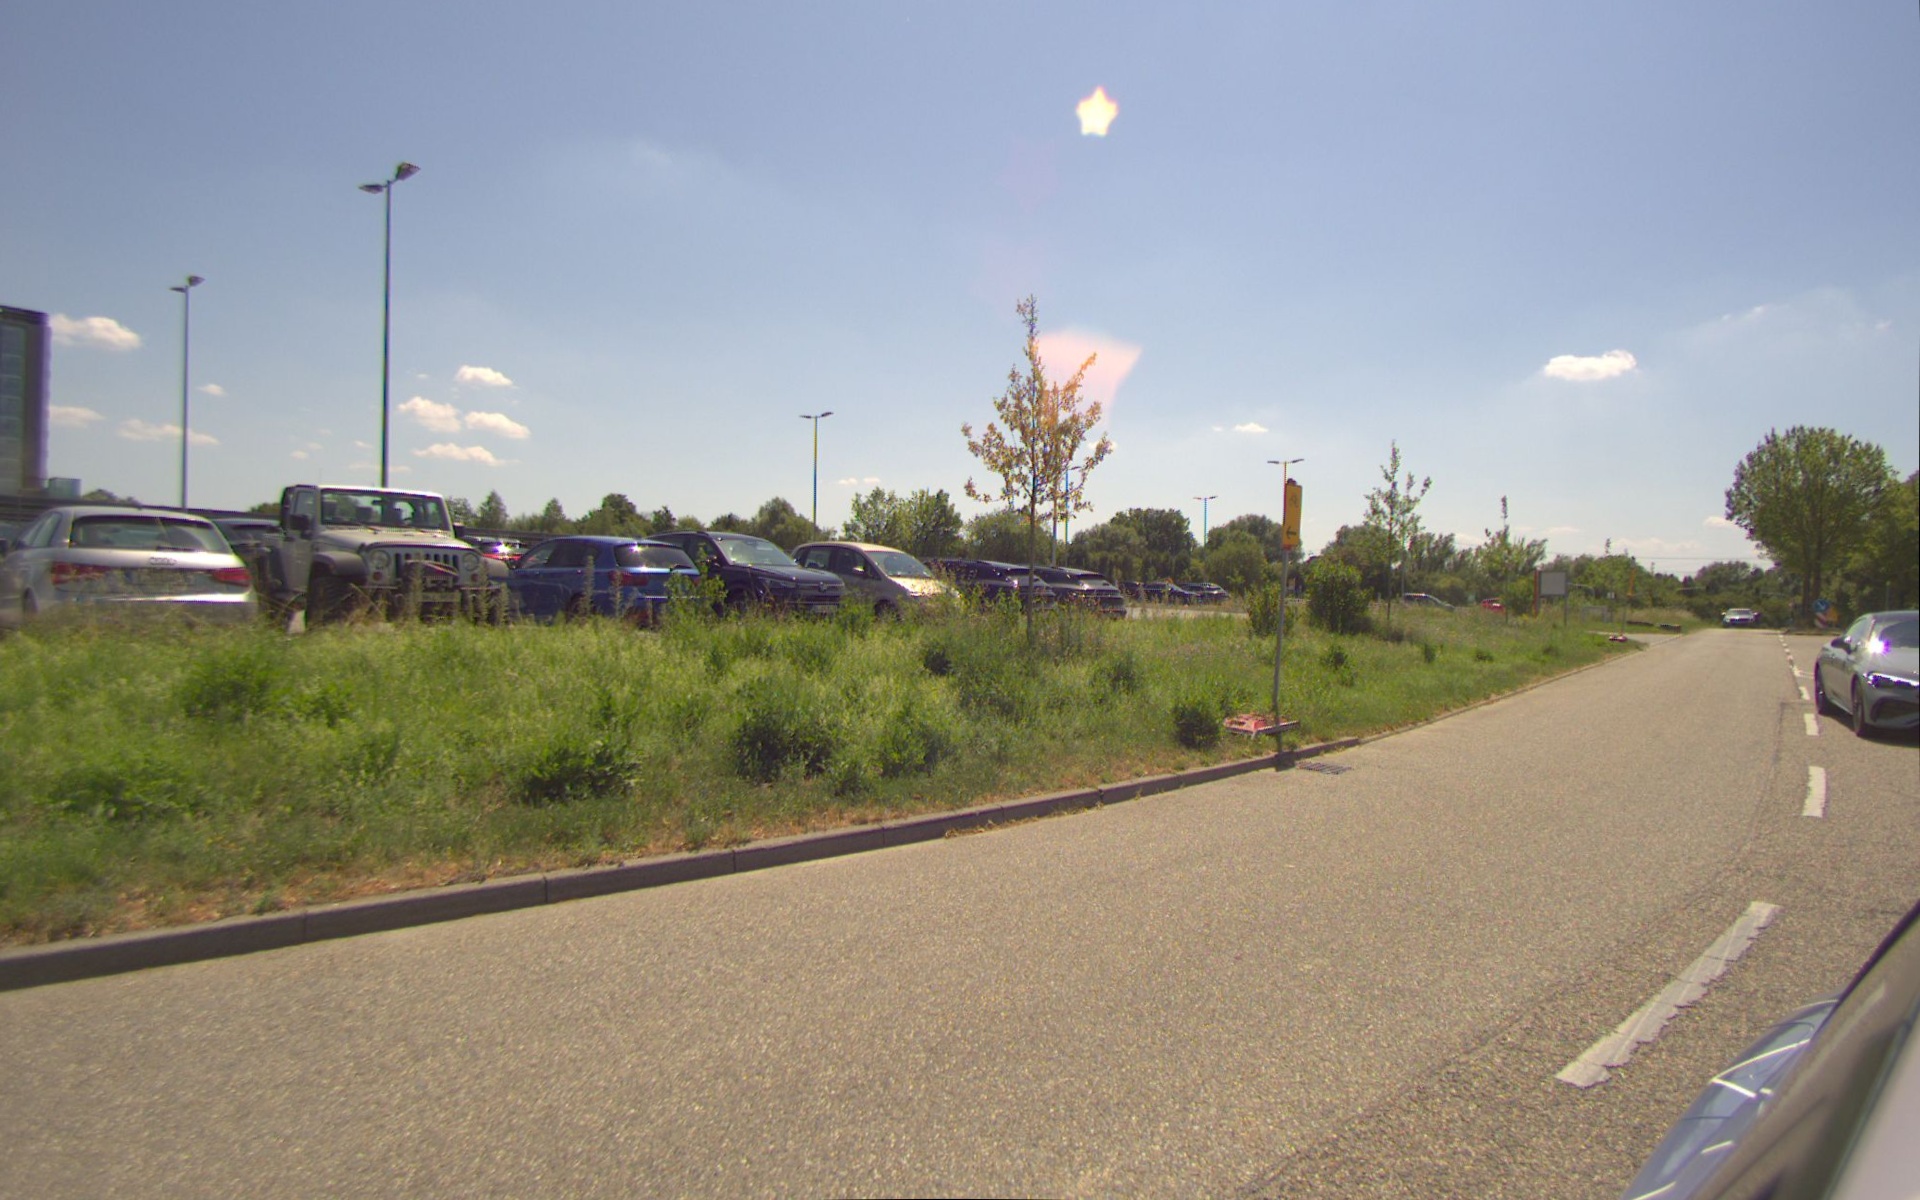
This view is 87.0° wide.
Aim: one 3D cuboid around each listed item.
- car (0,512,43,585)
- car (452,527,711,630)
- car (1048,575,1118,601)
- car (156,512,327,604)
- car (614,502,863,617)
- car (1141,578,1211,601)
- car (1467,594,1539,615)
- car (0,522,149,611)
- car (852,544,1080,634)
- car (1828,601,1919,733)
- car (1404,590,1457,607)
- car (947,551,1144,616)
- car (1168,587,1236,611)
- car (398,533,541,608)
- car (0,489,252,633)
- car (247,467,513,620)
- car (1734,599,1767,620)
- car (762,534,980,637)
[{"bbox_3d":[-21.575,-1.169,22.214,3.621,1.518,1.577,3,2,38],"label":"car"},{"bbox_3d":[-5.419,-0.332,14.307,3.924,1.273,1.565,2,3,37],"label":"car"},{"bbox_3d":[6.486,-0.666,53.464,3.446,1.239,1.444,3,2,39],"label":"car"},{"bbox_3d":[-13.980,-0.833,19.645,3.621,1.617,1.745,3,2,38],"label":"car"},{"bbox_3d":[-3.618,-0.555,16.199,4.015,1.448,1.665,-4,-2,37],"label":"car"},{"bbox_3d":[13.554,-0.633,63.501,3.974,1.368,1.626,-1,0,36],"label":"car"},{"bbox_3d":[35.758,0.296,66.684,3.974,1.368,1.626,-1,0,36],"label":"car"},{"bbox_3d":[-15.571,-0.620,17.473,3.829,1.379,1.630,3,2,38],"label":"car"},{"bbox_3d":[0.044,-0.276,20.220,4.381,1.565,1.790,3,2,39],"label":"car"},{"bbox_3d":[11.997,0.742,12.306,1.888,1.401,4.570,0,0,37],"label":"car"},{"bbox_3d":[41.405,-0.137,89.083,3.974,1.368,1.626,-1,0,36],"label":"car"},{"bbox_3d":[1.819,-0.336,22.274,3.982,1.308,1.881,-1,0,41],"label":"car"},{"bbox_3d":[15.624,-0.091,65.423,3.976,1.368,1.626,3,2,36],"label":"car"},{"bbox_3d":[-11.191,-0.628,23.032,3.399,1.594,1.502,-1,0,36],"label":"car"},{"bbox_3d":[-8.432,-0.389,10.053,3.255,1.196,1.480,2,3,39],"label":"car"},{"bbox_3d":[-7.097,-0.652,12.242,3.738,1.546,1.847,2,3,45],"label":"car"},{"bbox_3d":[55.763,0.660,71.401,1.666,1.392,4.432,-2,-1,40],"label":"car"},{"bbox_3d":[-1.666,-0.317,18.276,3.829,1.644,1.596,3,2,37],"label":"car"}]
